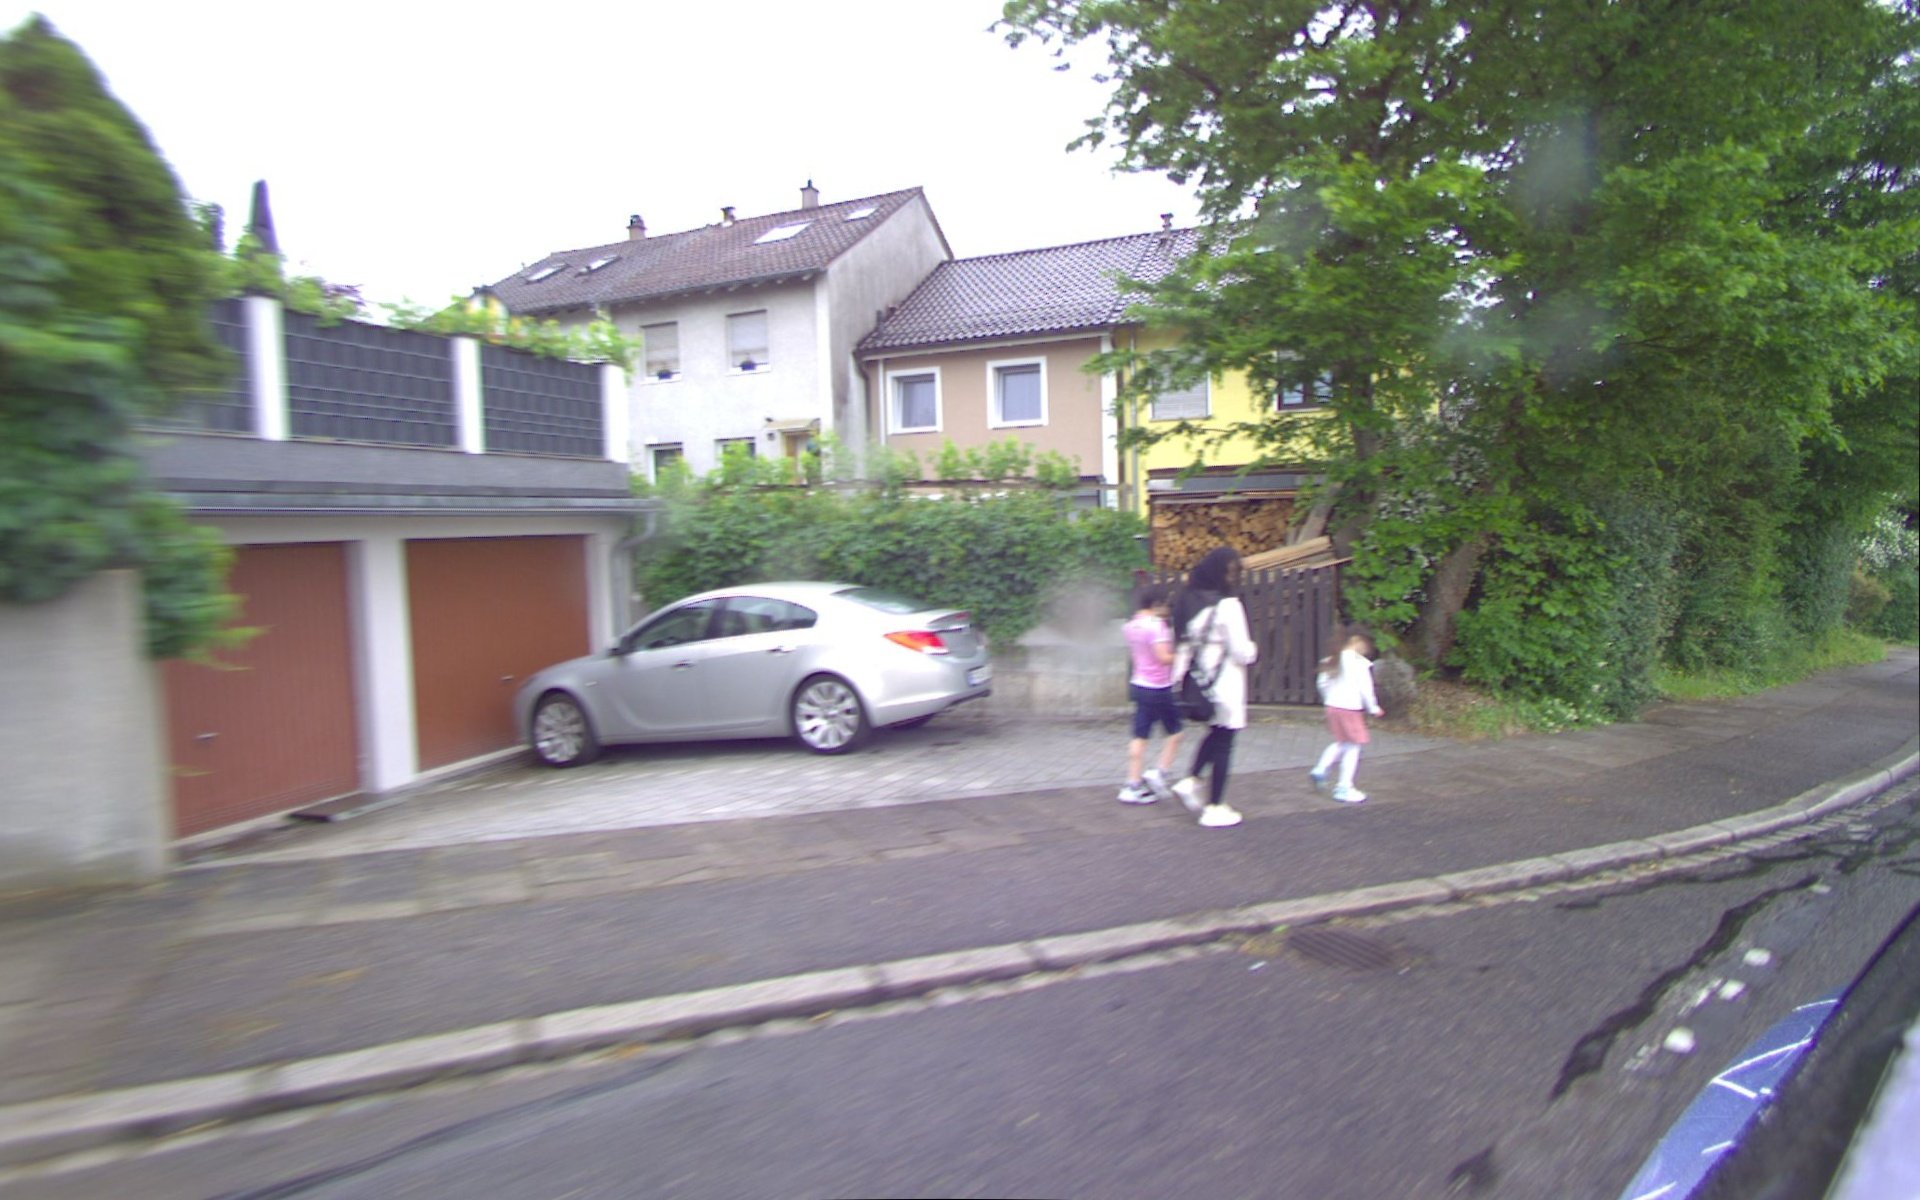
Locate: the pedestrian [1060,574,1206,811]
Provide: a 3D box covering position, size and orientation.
[{"bbox_3d":[1.073,0.534,6.317,0.633,1.371,0.604,0,2,-33],"label":"pedestrian"}]

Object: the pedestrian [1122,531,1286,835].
[{"bbox_3d":[1.392,0.432,5.799,0.633,1.613,0.612,0,1,-33],"label":"pedestrian"}]

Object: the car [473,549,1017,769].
[{"bbox_3d":[-1.956,0.548,9.266,4.545,1.438,1.779,-7,-1,20],"label":"car"}]

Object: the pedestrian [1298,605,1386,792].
[{"bbox_3d":[2.489,0.619,6.605,0.359,1.161,0.369,0,1,-32],"label":"pedestrian"}]
